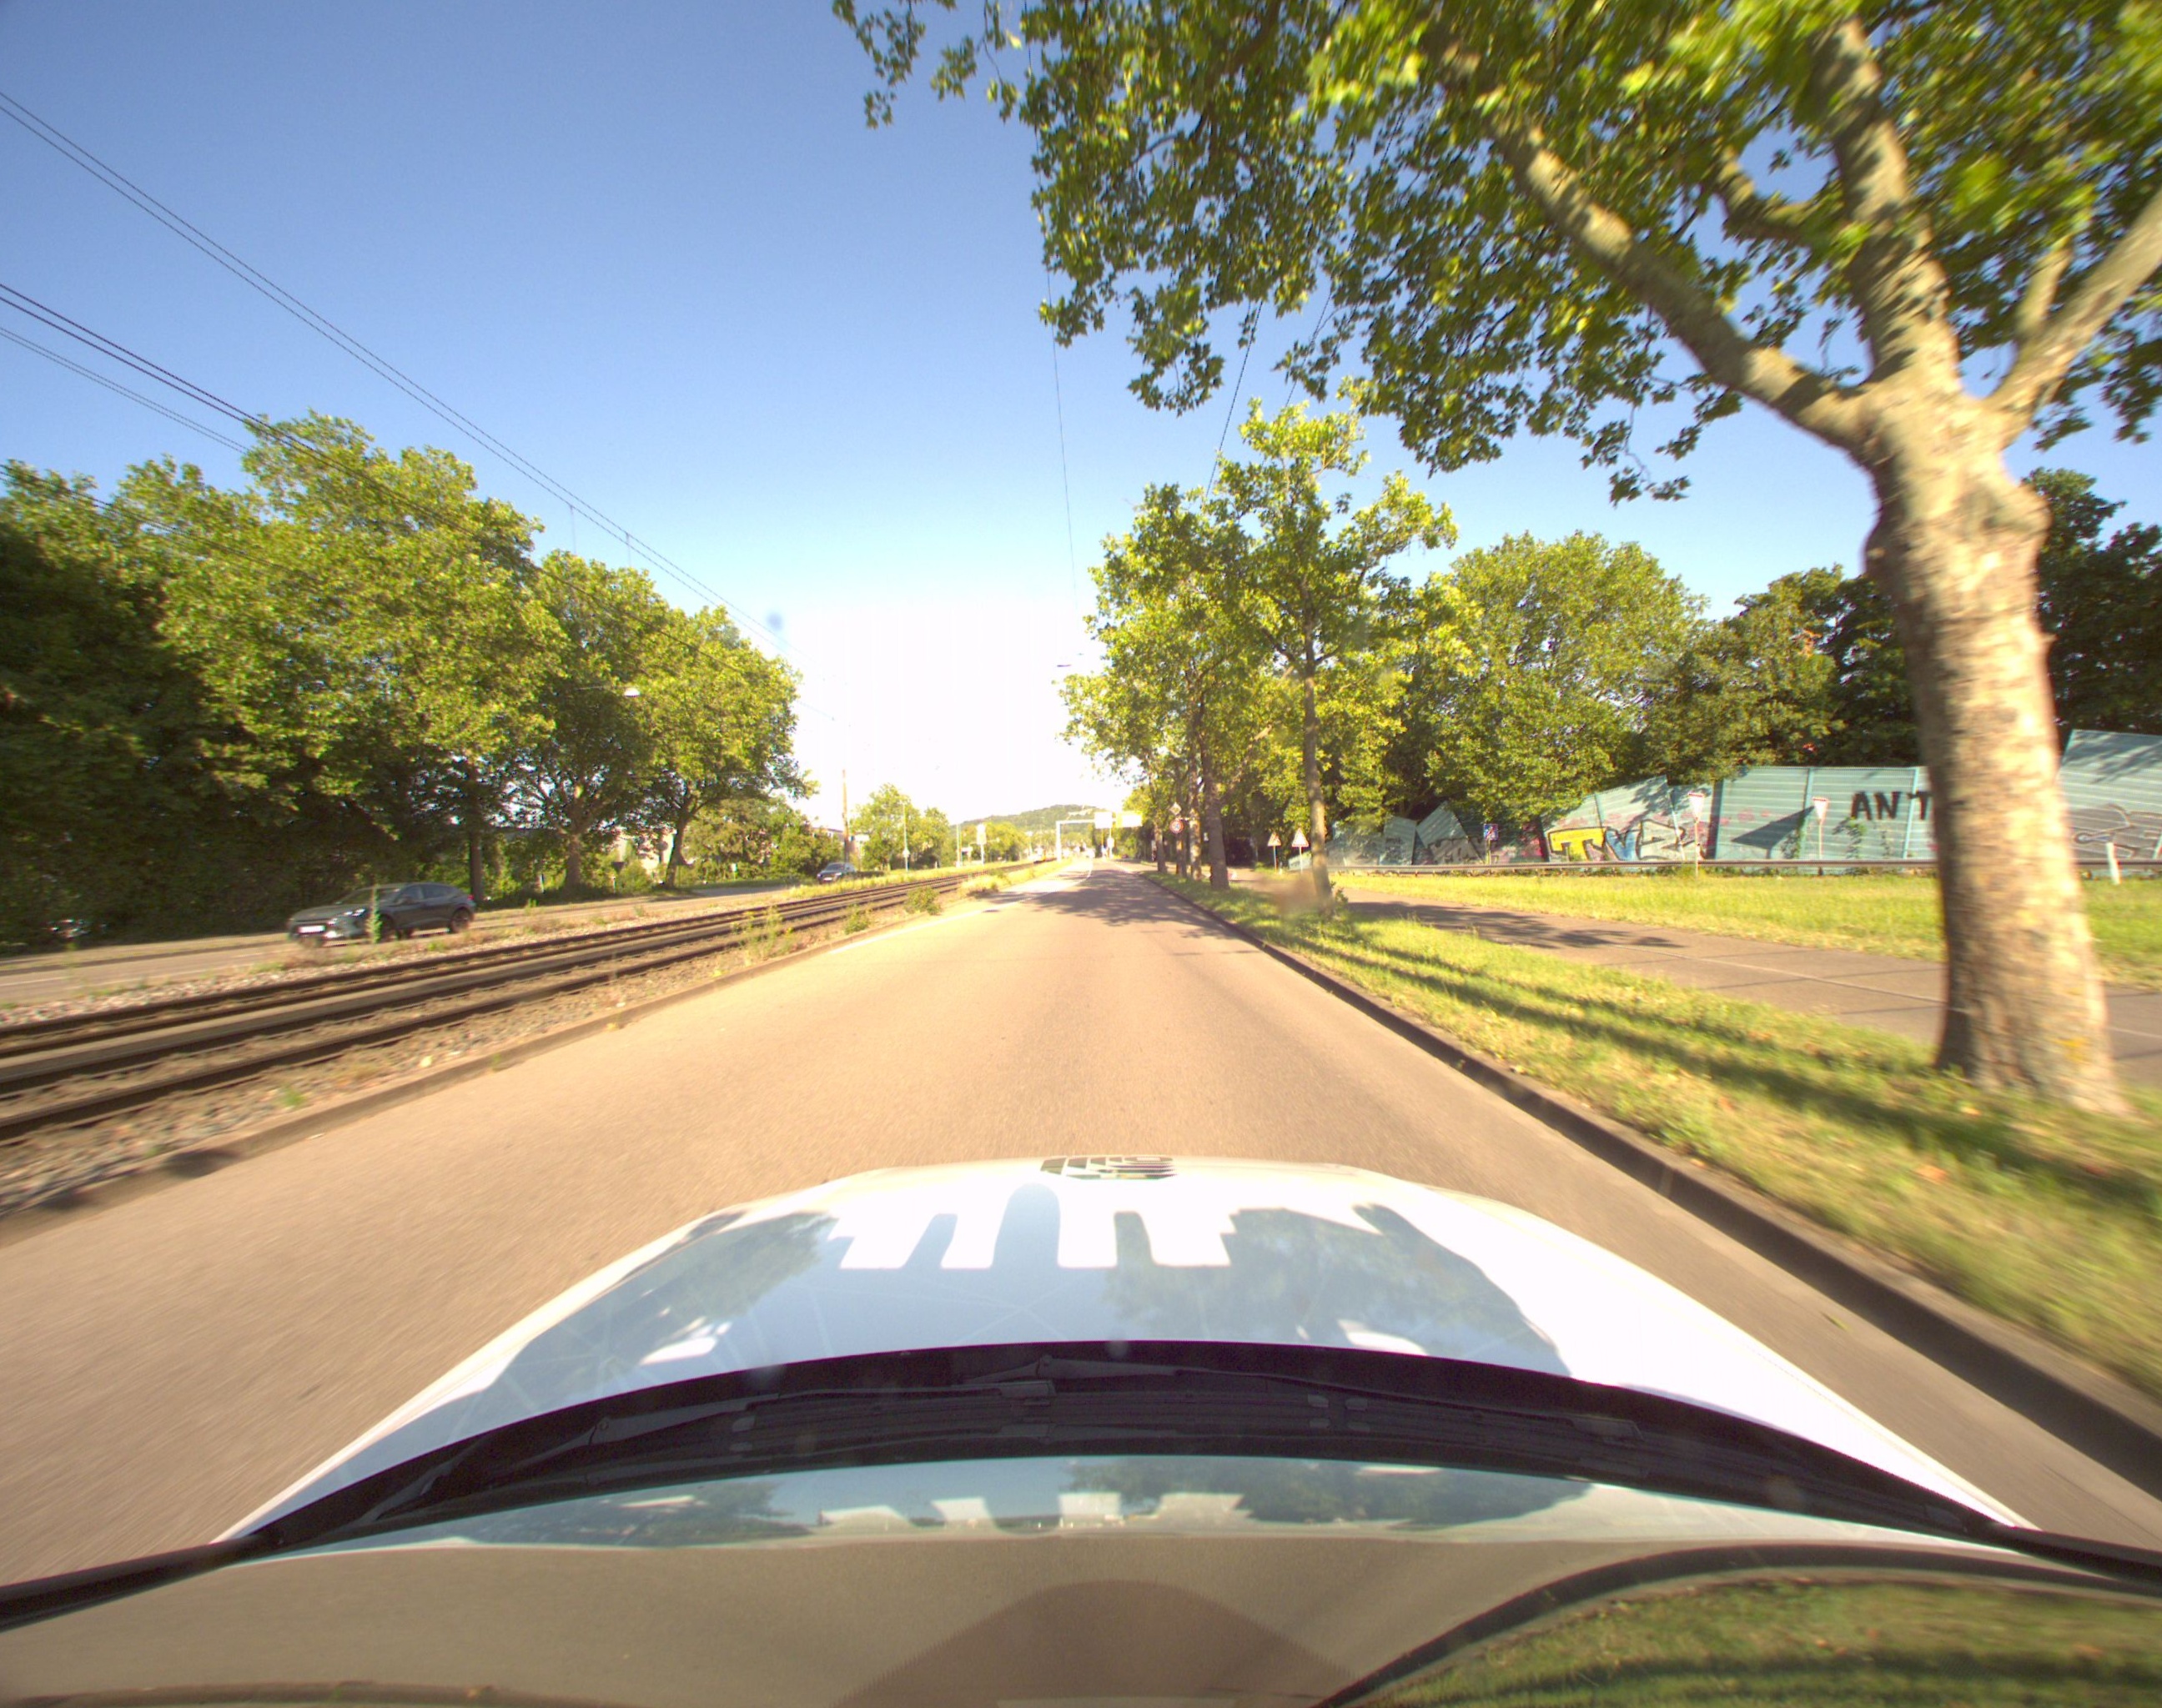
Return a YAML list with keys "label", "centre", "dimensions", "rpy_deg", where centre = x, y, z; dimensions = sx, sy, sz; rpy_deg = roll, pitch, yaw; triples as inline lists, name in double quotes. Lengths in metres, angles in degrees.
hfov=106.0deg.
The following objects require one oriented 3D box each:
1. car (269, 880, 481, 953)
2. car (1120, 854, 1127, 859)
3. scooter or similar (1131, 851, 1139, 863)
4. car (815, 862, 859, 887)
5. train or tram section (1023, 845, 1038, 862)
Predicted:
- label: "car"
  centre: [-18.300, 1.535, 21.436]
  dimensions: [1.706, 1.468, 4.346]
  rpy_deg: [-4, 0, -1]
- label: "car"
  centre: [12.949, 0.763, 248.028]
  dimensions: [2.075, 1.566, 3.962]
  rpy_deg: [-1, 0, 7]
- label: "scooter or similar"
  centre: [12.822, 0.773, 193.886]
  dimensions: [1.675, 2.715, 4.869]
  rpy_deg: [-1, 0, 1]
- label: "car"
  centre: [-18.549, 1.518, 62.163]
  dimensions: [1.893, 1.694, 4.938]
  rpy_deg: [-4, 0, -1]
- label: "train or tram section"
  centre: [-11.721, -0.121, 189.899]
  dimensions: [2.795, 3.902, 12.330]
  rpy_deg: [-1, 0, 0]
